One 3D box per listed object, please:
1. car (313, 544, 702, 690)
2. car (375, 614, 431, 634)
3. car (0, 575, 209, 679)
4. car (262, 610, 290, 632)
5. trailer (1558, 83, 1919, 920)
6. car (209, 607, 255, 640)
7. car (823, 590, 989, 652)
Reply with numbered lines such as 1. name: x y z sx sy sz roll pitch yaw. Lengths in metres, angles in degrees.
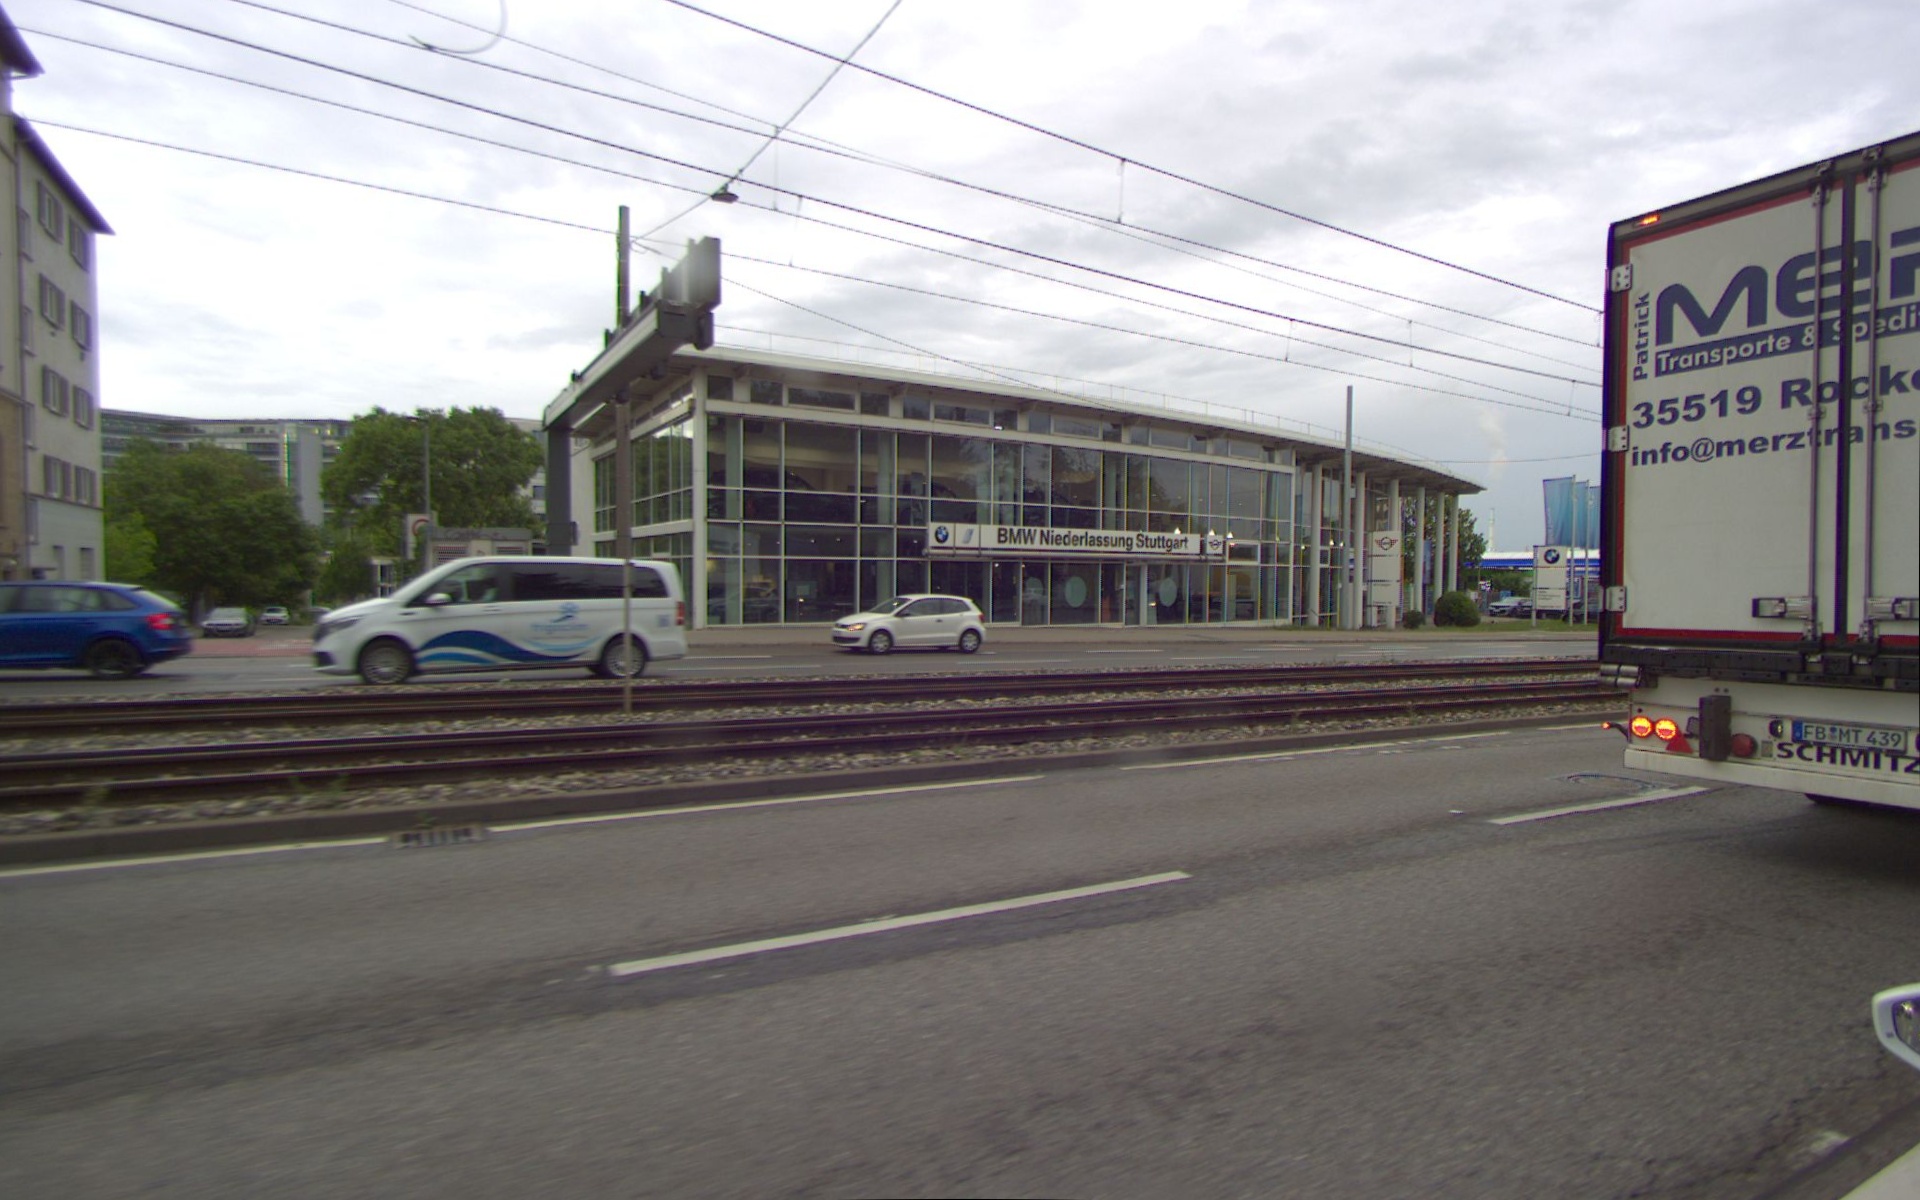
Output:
1. car: -6.751 0.233 15.309 5.133 1.899 1.983 1 1 -31
2. car: -42.124 1.789 75.983 3.608 1.423 1.702 1 0 -30
3. car: -13.748 0.365 14.666 4.281 1.452 1.598 1 1 -31
4. car: -51.515 1.571 75.733 1.594 1.452 4.133 1 1 -33
5. trailer: 10.335 -0.434 8.864 13.027 4.309 2.749 1 0 -30
6. car: -36.318 1.137 50.192 1.594 1.452 4.133 1 1 -33
7. car: -1.324 0.502 24.960 3.805 1.423 1.672 1 1 -30
